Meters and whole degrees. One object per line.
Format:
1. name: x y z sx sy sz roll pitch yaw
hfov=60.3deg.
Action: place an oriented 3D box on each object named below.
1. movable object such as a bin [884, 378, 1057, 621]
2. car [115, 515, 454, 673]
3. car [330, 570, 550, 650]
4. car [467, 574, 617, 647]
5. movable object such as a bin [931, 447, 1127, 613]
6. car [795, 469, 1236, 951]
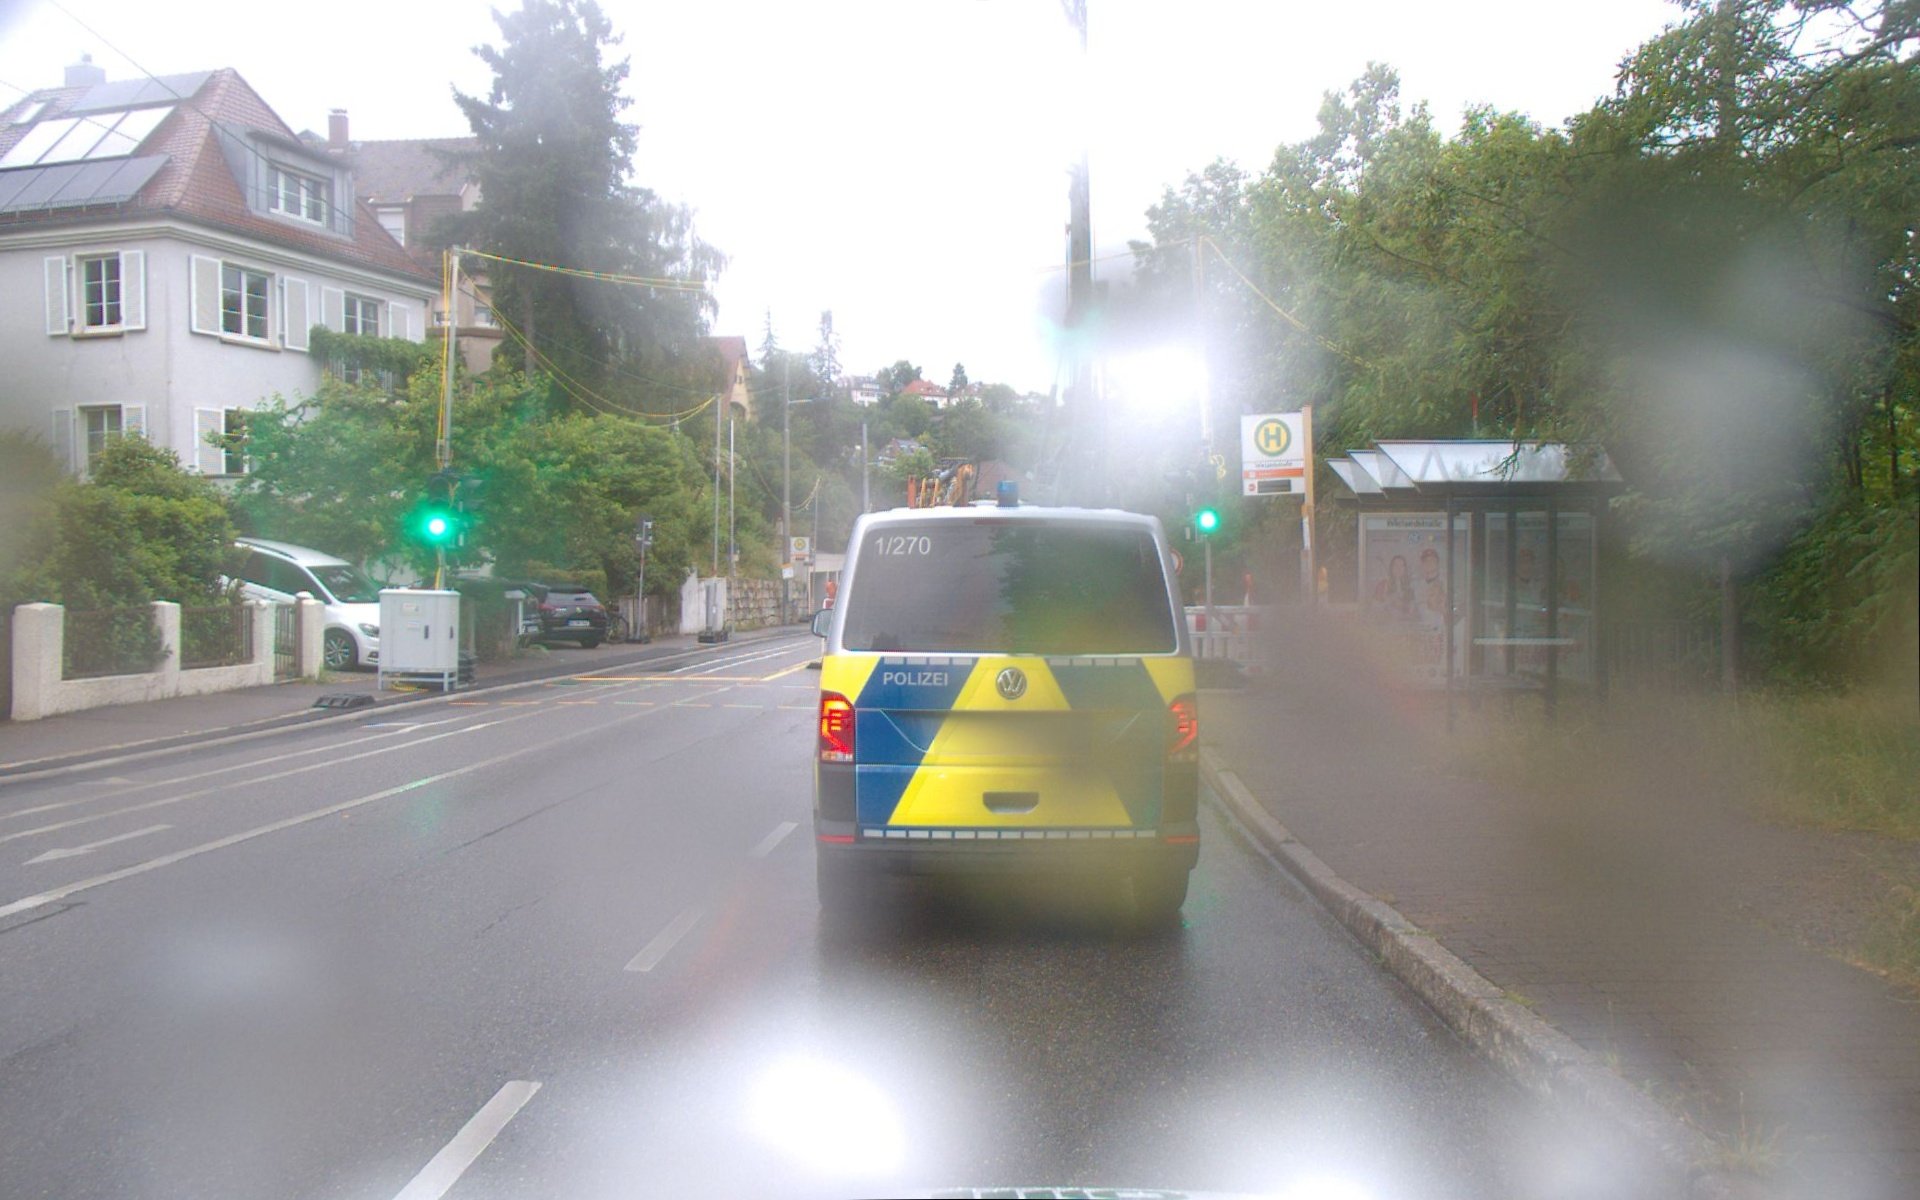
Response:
1. movable object such as a bin: 0.310 -1.811 31.539 2.817 4.243 4.491 -1 1 6
2. car: -11.113 -0.135 27.282 4.865 1.642 1.865 11 3 13
3. car: -10.789 0.198 34.449 3.902 1.552 1.942 1 -1 12
4. car: -9.491 0.209 37.391 1.769 1.552 3.943 1 0 -39
5. movable object such as a bin: 2.453 -2.192 55.781 3.615 5.155 7.147 -1 -1 31
6. car: 0.209 0.490 9.333 1.869 2.046 4.438 1 0 -1
